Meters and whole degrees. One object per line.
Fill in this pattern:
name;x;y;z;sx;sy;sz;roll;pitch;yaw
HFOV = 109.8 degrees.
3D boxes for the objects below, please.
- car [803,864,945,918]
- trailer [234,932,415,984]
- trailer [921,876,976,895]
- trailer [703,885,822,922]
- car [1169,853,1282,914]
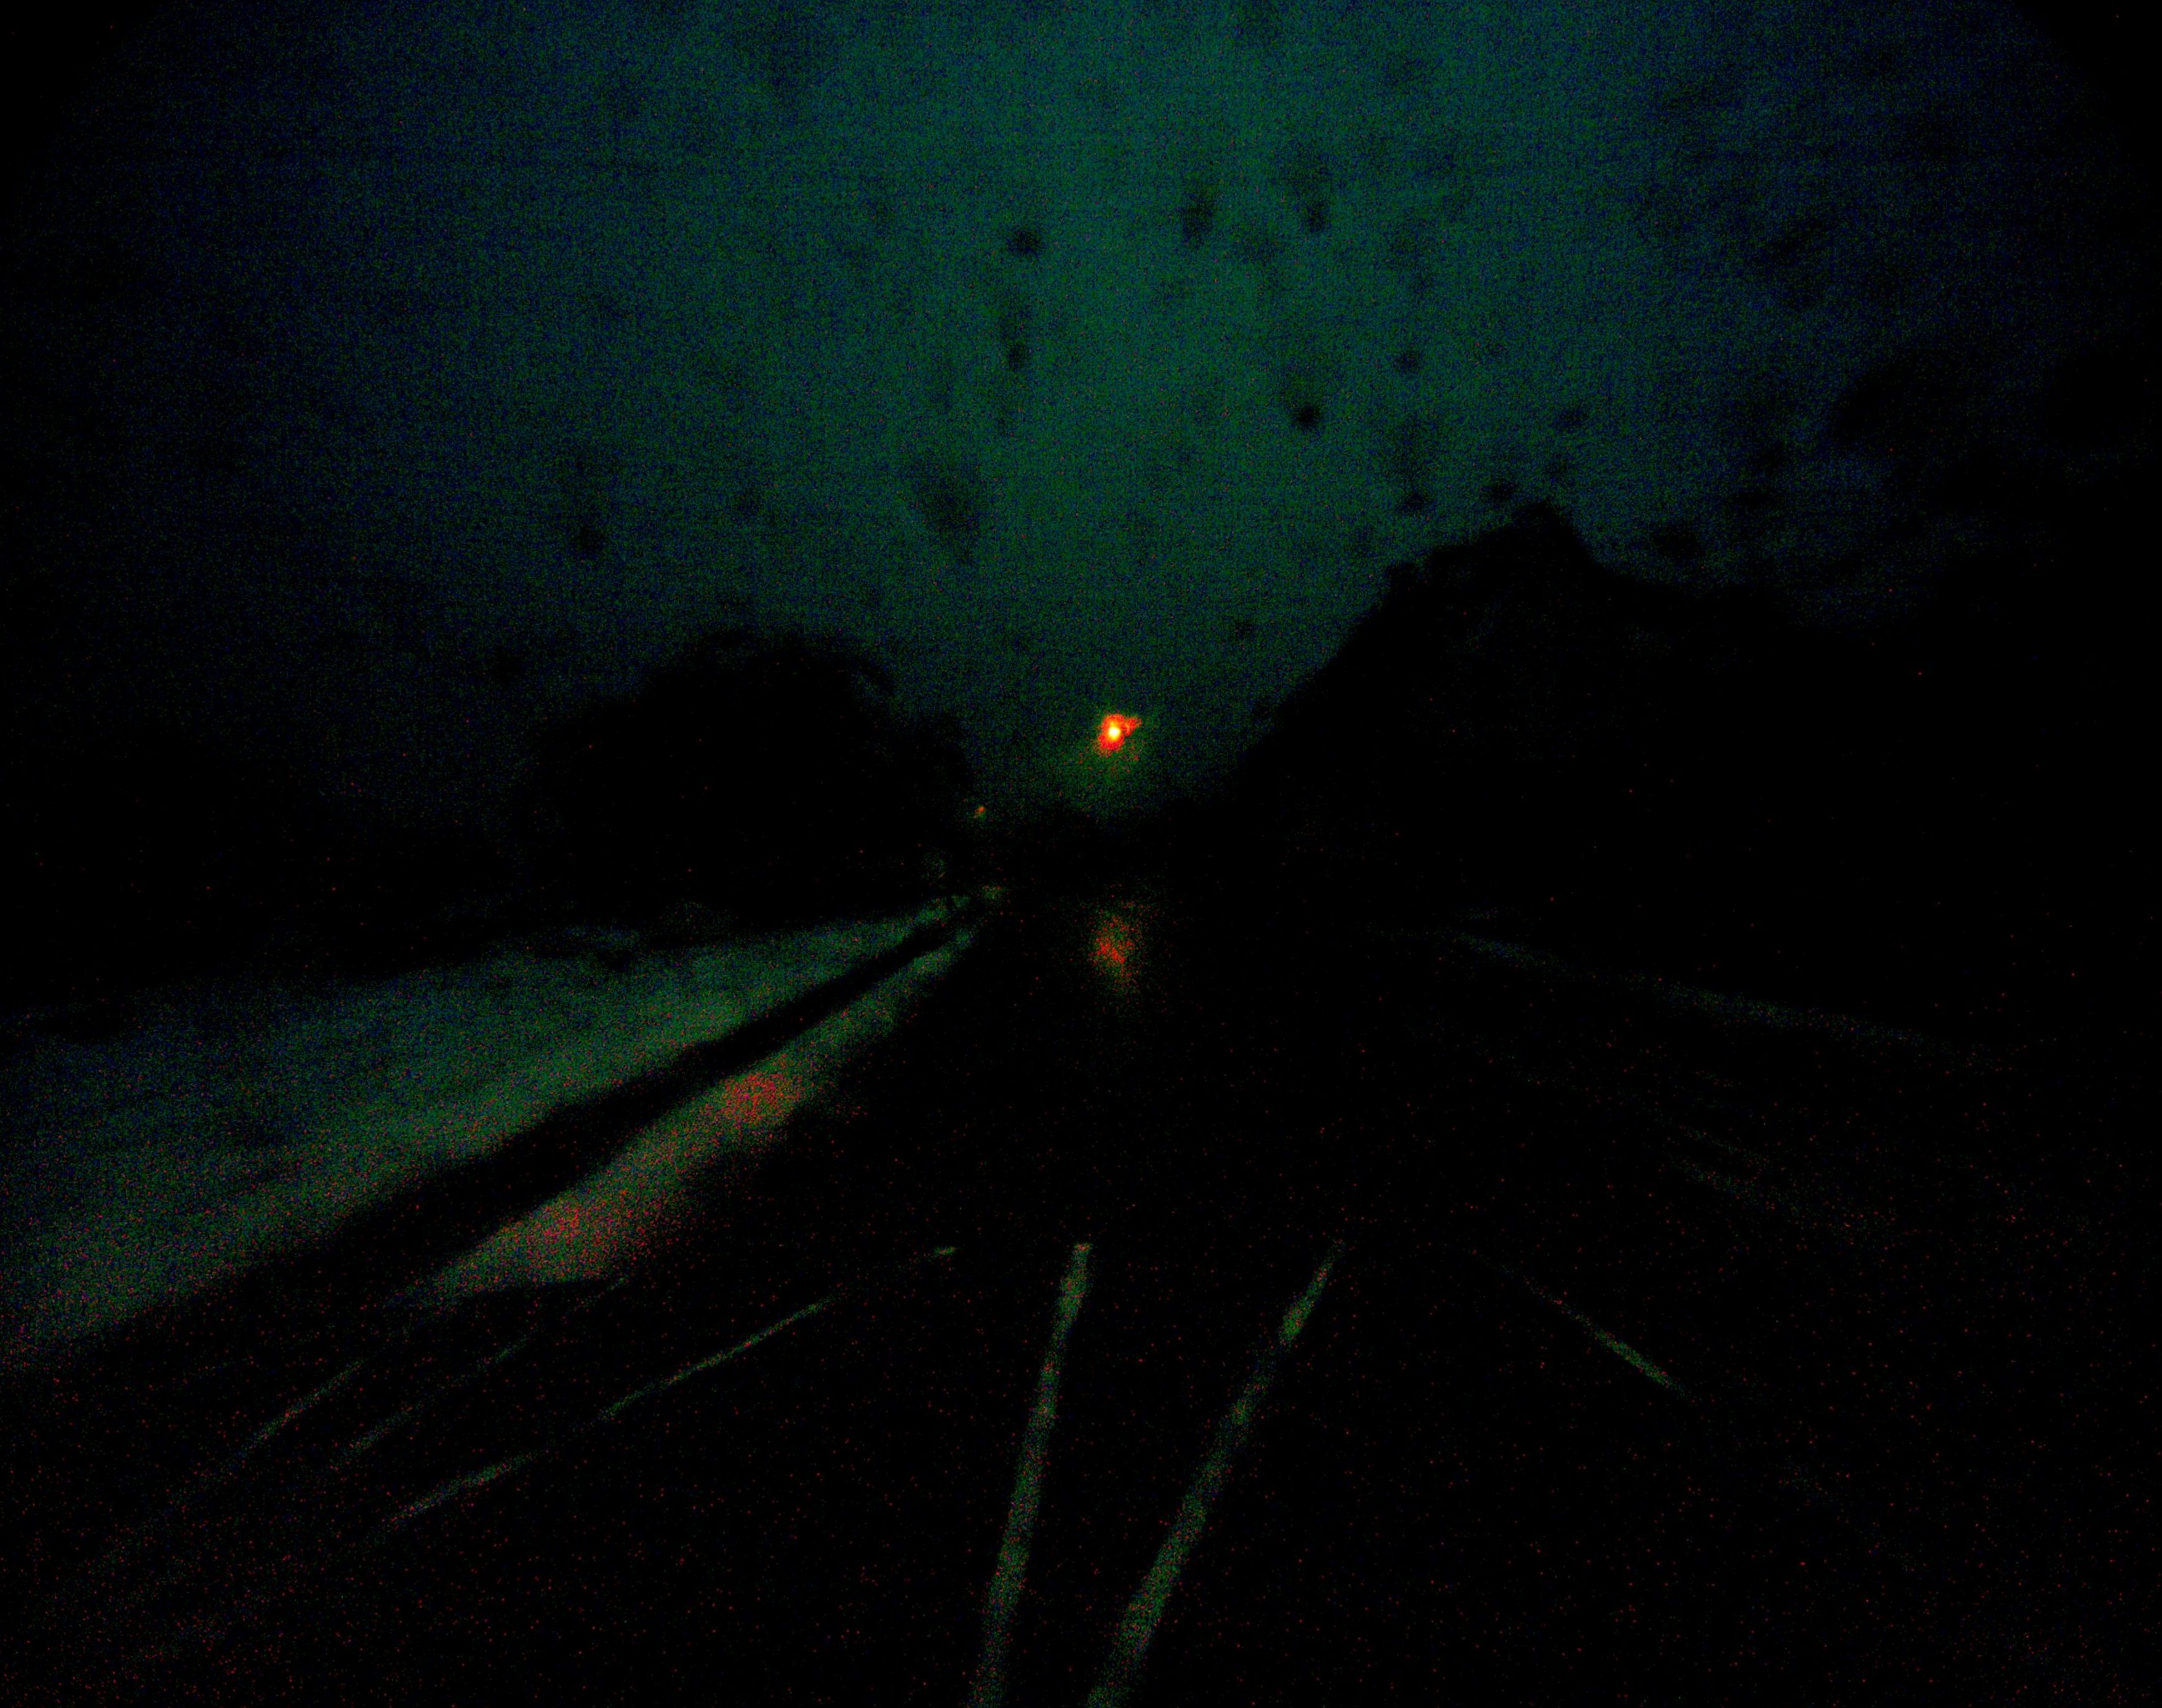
car;-7.345;1.296;27.382;4.462;1.374;2.035;-7;0;-2
trailer;-20.701;2.823;21.032;1.850;0.940;3.659;-1;-1;-12
trailer;-7.293;1.698;41.482;1.552;0.940;3.991;-1;-1;-33
trailer;-12.564;1.939;30.233;3.882;1.085;2.244;-4;0;-10
car;3.972;0.773;21.907;1.882;1.417;5.391;-3;0;-3
